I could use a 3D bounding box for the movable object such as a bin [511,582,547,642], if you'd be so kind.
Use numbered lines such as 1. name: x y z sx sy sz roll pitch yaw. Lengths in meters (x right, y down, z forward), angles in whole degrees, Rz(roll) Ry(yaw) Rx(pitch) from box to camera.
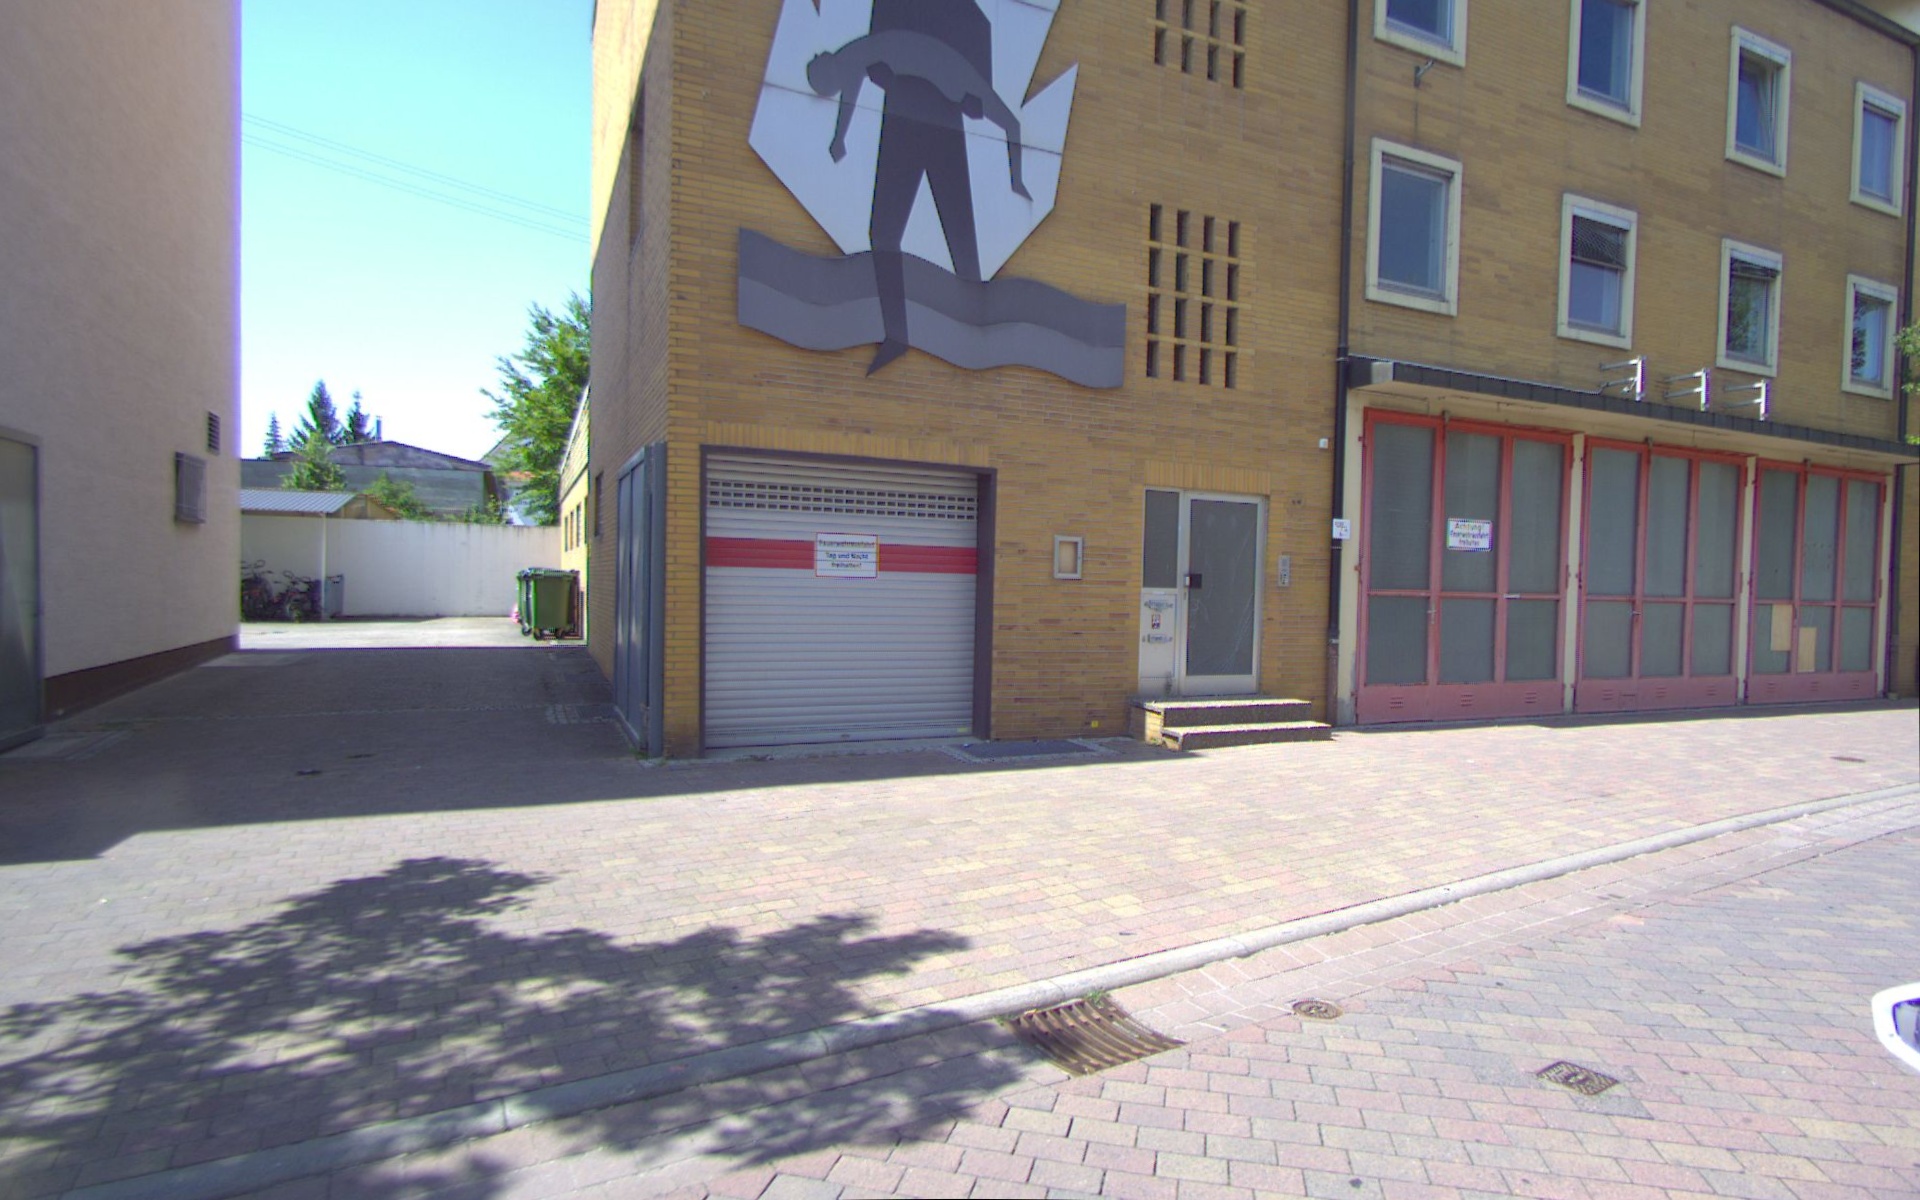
1. movable object such as a bin: -9.563 0.265 22.284 0.699 1.313 0.691 1 1 -22

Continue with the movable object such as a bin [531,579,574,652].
1. movable object such as a bin: -7.627 0.285 18.797 0.722 1.325 0.476 1 1 -25

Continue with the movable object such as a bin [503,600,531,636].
1. movable object such as a bin: -11.234 0.448 25.495 0.613 0.888 0.567 1 1 -22

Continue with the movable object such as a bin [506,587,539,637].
1. movable object such as a bin: -10.671 0.288 24.524 0.699 1.182 0.691 1 1 -22

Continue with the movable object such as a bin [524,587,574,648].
1. movable object such as a bin: -8.170 0.343 19.972 0.873 1.193 0.523 1 1 -27

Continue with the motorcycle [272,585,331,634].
1. motorcycle: -16.033 0.215 24.509 0.798 1.123 2.209 1 1 -23

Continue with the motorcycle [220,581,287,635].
1. motorcycle: -16.935 0.169 24.127 0.814 1.225 2.357 1 1 -23
